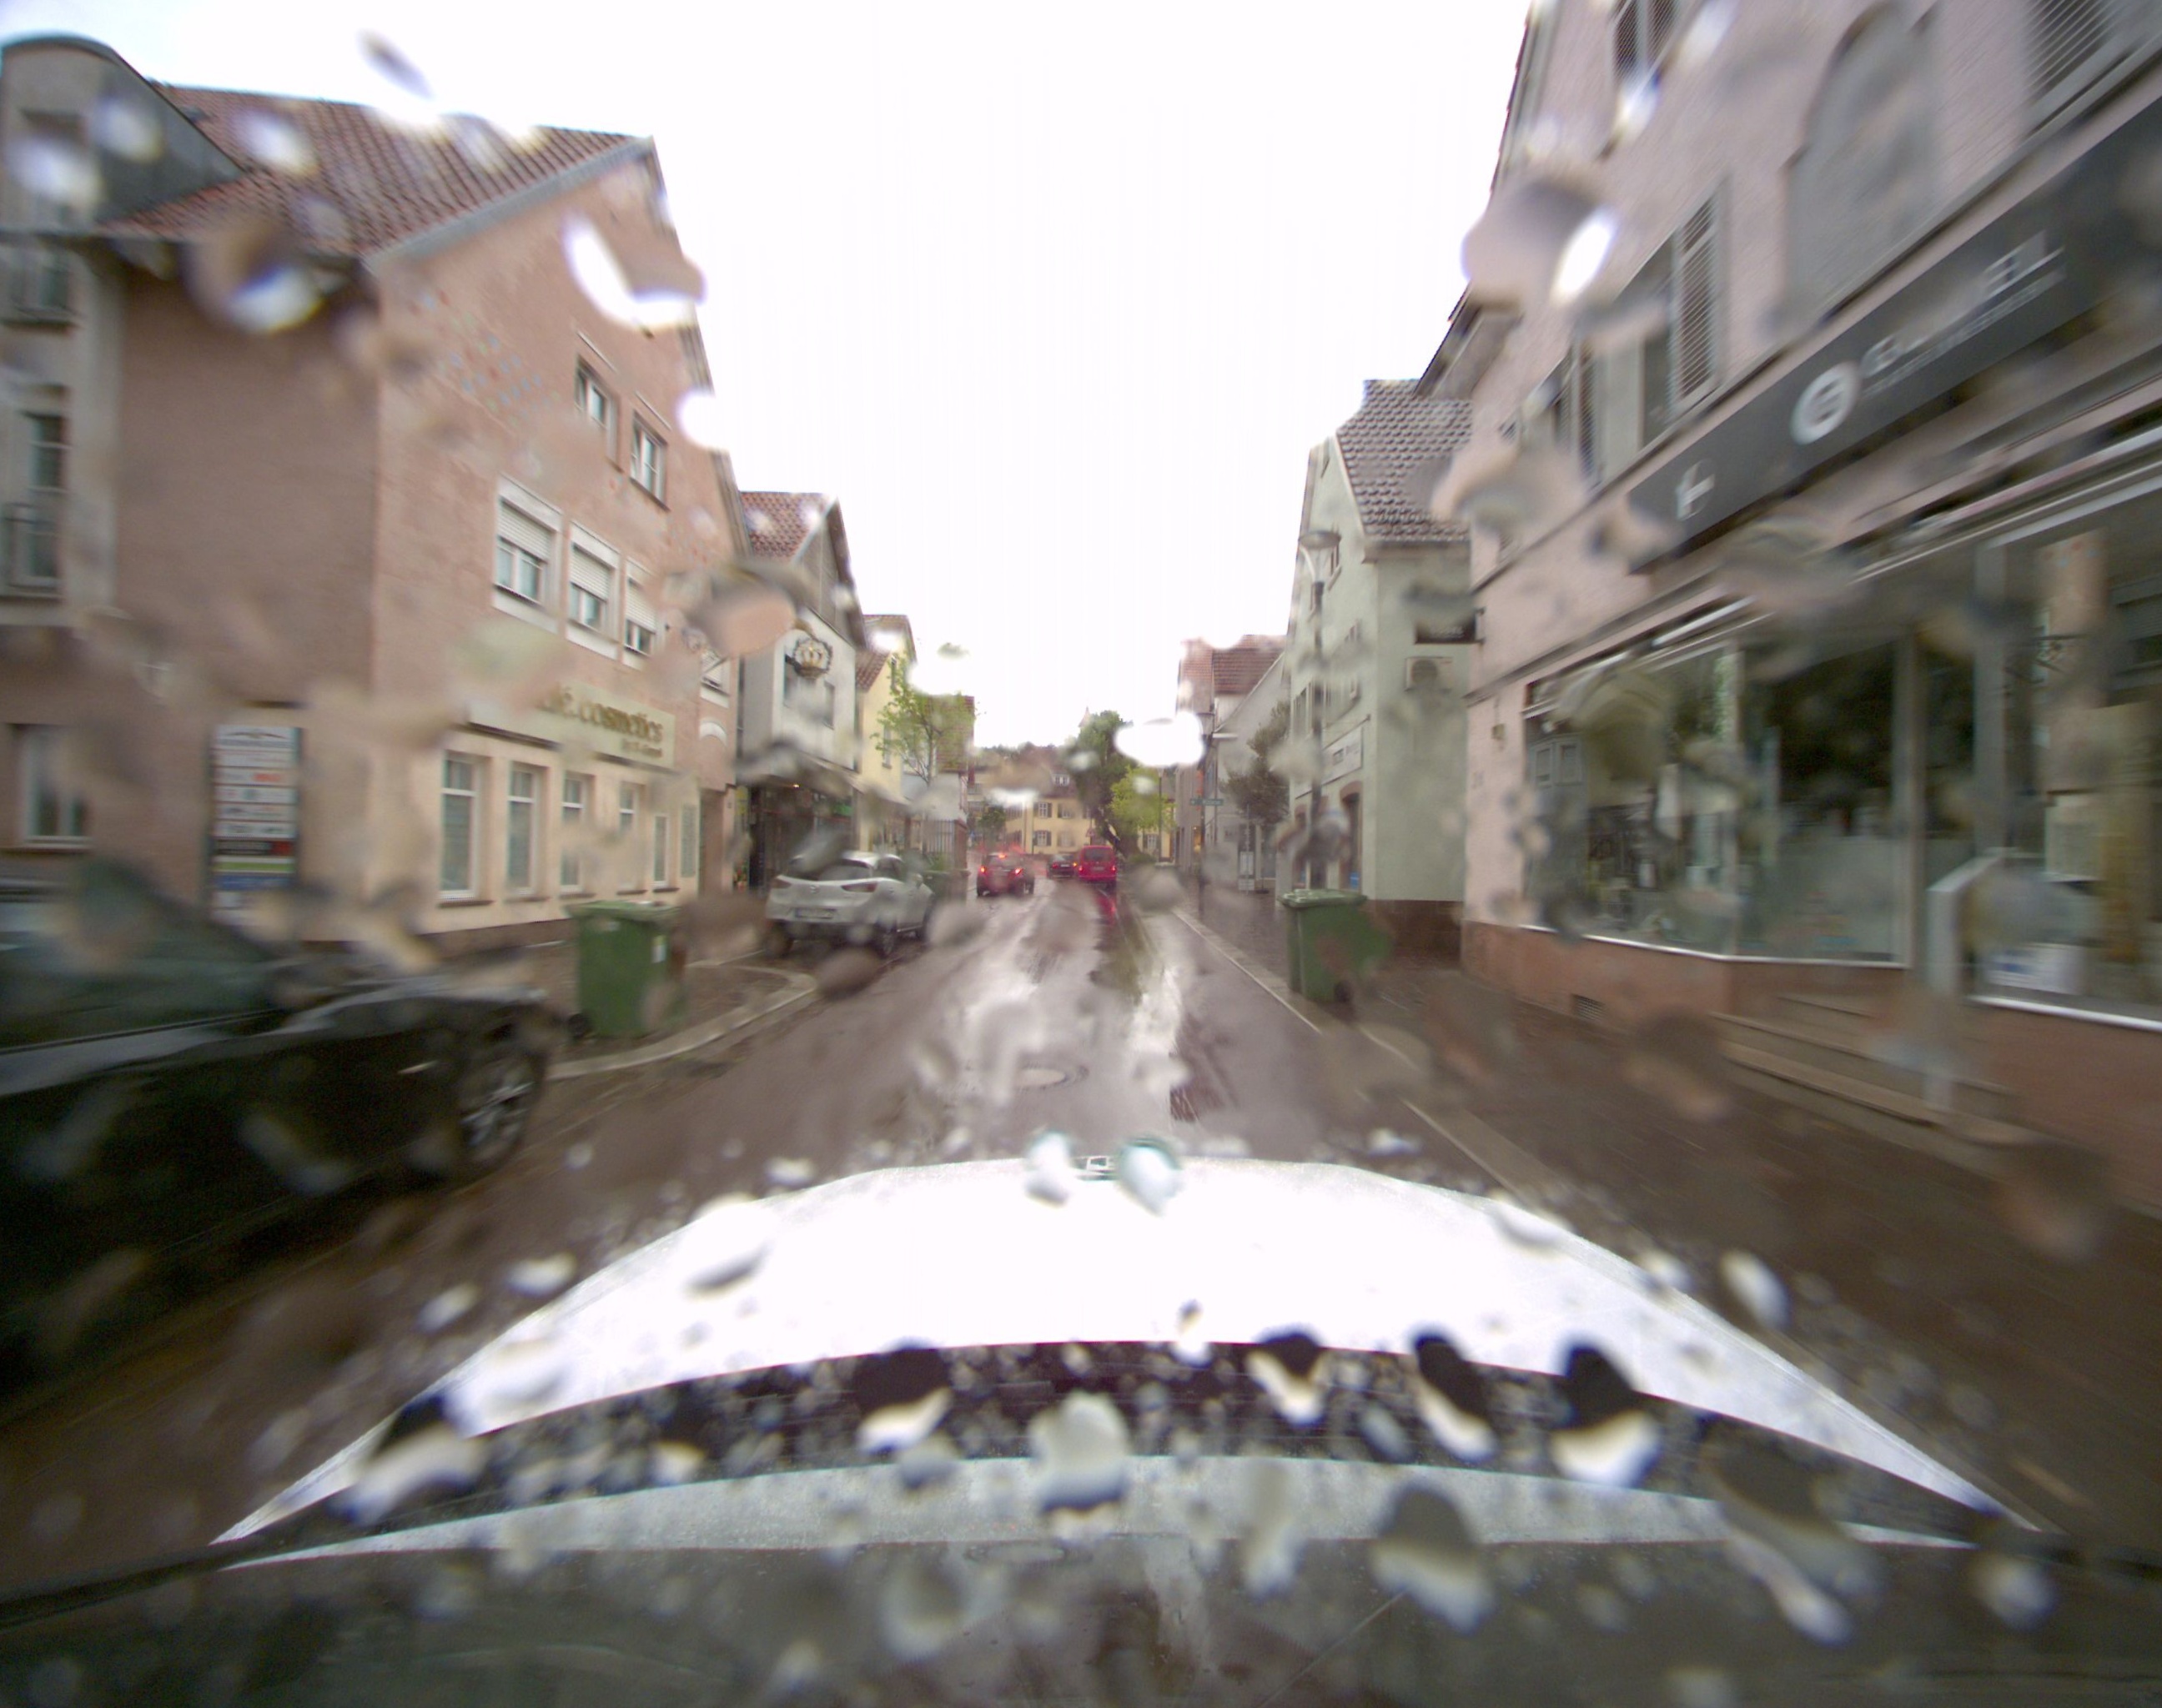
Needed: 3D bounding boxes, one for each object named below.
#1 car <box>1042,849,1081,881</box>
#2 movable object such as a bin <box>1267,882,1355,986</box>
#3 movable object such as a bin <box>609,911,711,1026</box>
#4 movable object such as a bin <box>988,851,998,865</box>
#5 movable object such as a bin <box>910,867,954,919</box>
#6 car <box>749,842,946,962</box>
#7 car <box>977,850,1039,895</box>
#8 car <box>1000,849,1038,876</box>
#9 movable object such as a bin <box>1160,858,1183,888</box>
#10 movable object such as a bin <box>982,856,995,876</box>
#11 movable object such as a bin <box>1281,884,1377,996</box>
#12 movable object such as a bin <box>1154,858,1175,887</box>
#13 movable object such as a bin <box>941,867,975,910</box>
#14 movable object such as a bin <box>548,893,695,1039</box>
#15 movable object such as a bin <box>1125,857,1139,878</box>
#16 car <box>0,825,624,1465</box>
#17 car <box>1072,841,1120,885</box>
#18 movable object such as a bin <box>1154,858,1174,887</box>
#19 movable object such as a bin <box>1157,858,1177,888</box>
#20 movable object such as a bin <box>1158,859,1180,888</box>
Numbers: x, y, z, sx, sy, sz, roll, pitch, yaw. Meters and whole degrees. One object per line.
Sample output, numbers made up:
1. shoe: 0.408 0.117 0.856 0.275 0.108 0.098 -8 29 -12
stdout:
1. car: -1.210 0.661 48.314 1.991 1.799 3.992 2 -1 -6
2. movable object such as a bin: 2.503 0.858 8.919 0.794 1.081 0.582 1 -1 -2
3. movable object such as a bin: -3.713 1.000 7.213 0.607 0.938 0.499 2 -2 -3
4. movable object such as a bin: -7.048 0.347 65.284 0.714 1.106 0.598 2 -2 -9
5. movable object such as a bin: -3.327 0.862 18.230 0.784 1.084 0.693 2 1 1
6. car: -3.491 0.612 13.023 1.684 1.538 4.125 2 1 3
7. car: -2.575 0.619 29.560 1.685 1.443 3.887 2 1 2
8. car: -3.838 0.484 49.825 1.789 1.495 3.985 2 0 -11
9. movable object such as a bin: 3.332 0.711 30.028 0.765 1.079 0.599 2 -2 2
10. movable object such as a bin: -5.224 0.665 46.147 0.659 1.110 0.614 2 -2 -6
11. movable object such as a bin: 2.509 0.857 8.293 0.790 1.081 0.614 1 -1 -2
12. movable object such as a bin: 3.273 0.729 31.875 0.733 1.098 0.611 1 -2 1
13. movable object such as a bin: -3.140 0.868 20.874 0.706 1.052 0.704 2 -2 2
14. movable object such as a bin: -3.677 0.876 6.576 0.767 1.082 0.675 1 -2 -3
15. movable object such as a bin: 2.791 0.727 44.326 0.630 1.150 0.578 2 -2 -6
16. car: -3.543 0.706 2.478 1.774 1.538 4.290 3 1 0
17. car: 0.619 0.347 36.971 1.889 1.811 3.998 3 1 -2
18. movable object such as a bin: 3.296 0.736 32.505 0.733 1.098 0.611 1 -2 1
19. movable object such as a bin: 3.302 0.733 31.265 0.726 1.091 0.521 2 -2 2
20. movable object such as a bin: 3.319 0.731 30.670 0.751 1.064 0.600 2 -2 2
